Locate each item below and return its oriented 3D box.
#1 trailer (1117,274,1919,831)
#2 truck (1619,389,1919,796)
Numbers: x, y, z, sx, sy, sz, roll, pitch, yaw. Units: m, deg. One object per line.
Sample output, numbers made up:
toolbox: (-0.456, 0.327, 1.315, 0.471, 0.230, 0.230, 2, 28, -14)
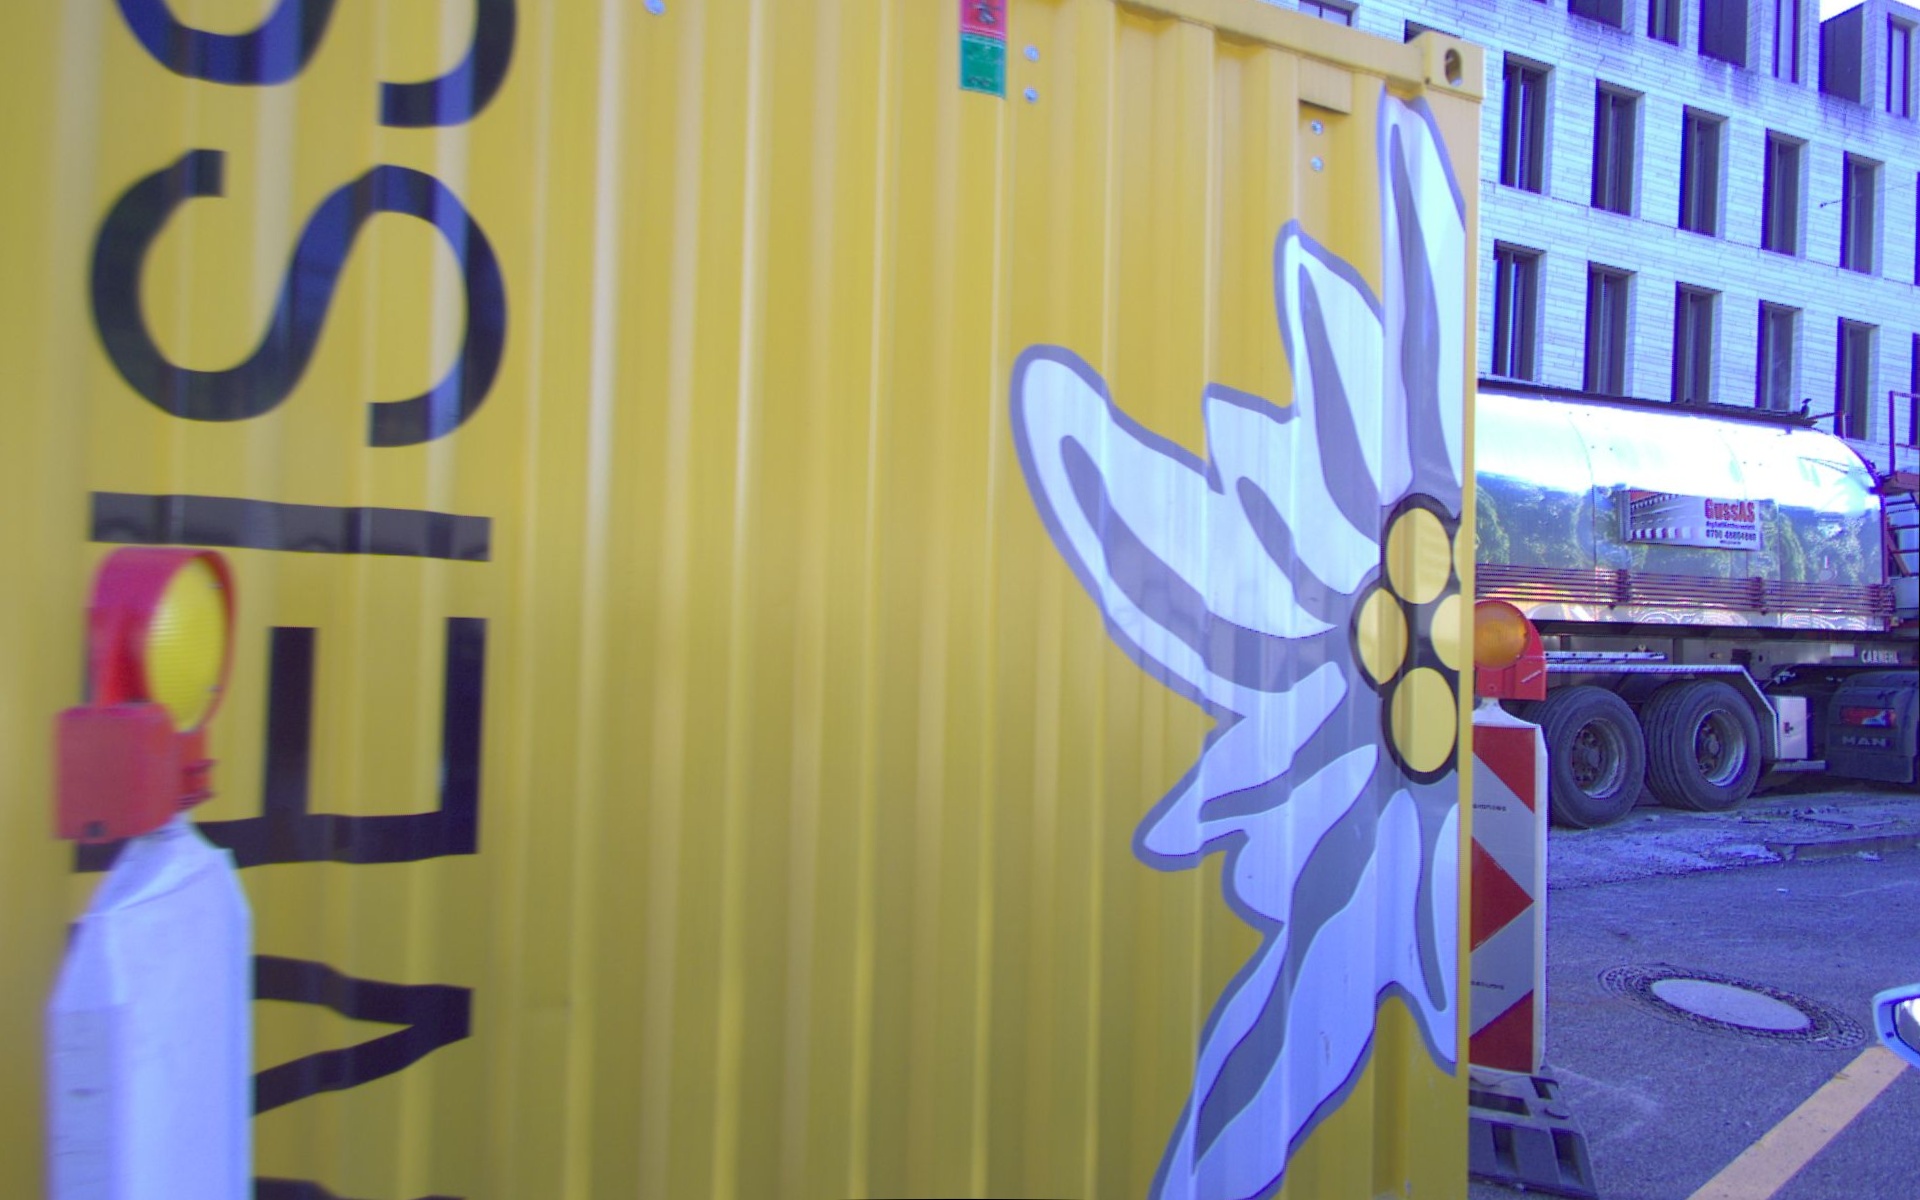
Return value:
trailer: (5.937, -0.121, 9.306, 8.612, 3.715, 2.641, 2, -5, -19)
truck: (10.491, 0.088, 10.756, 5.722, 3.534, 2.580, 1, -5, -17)
